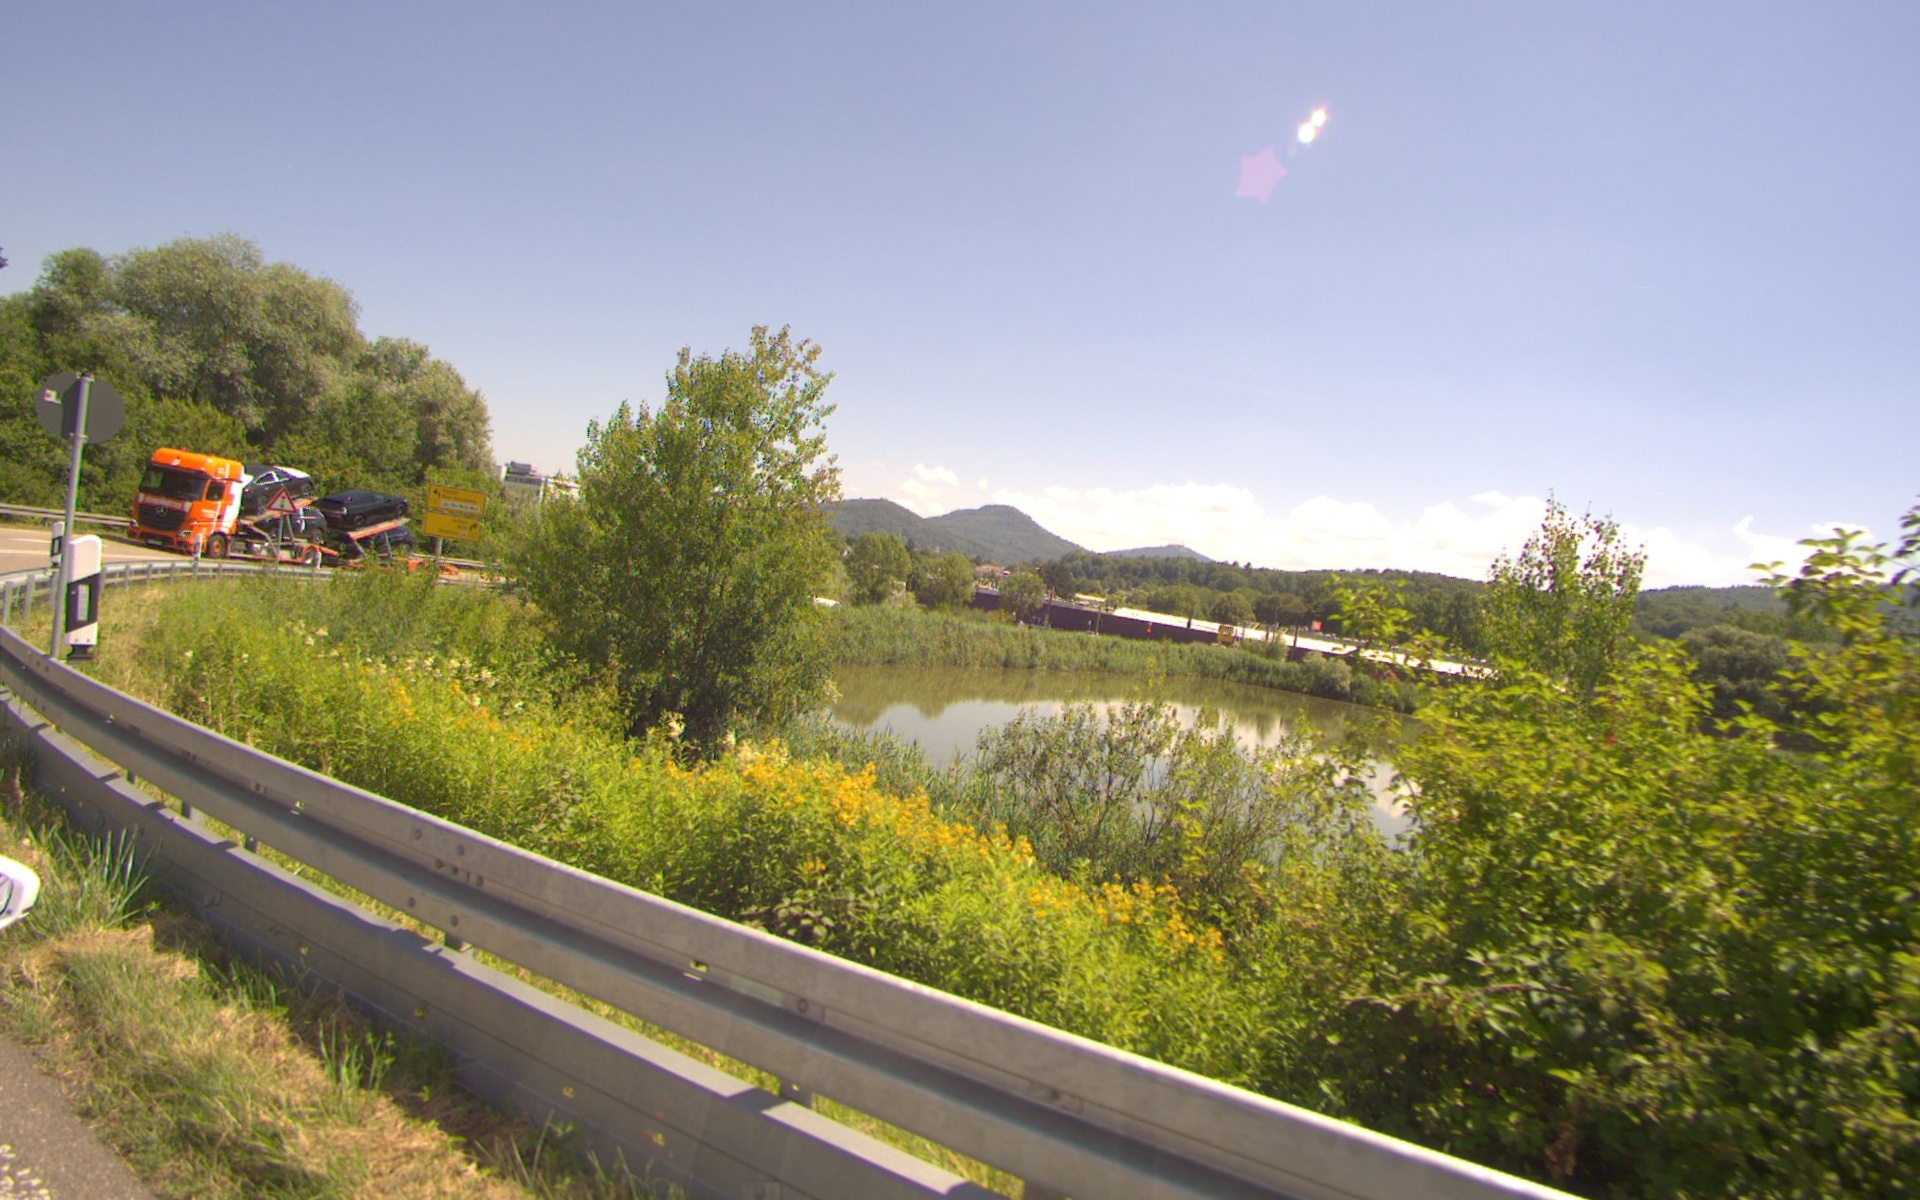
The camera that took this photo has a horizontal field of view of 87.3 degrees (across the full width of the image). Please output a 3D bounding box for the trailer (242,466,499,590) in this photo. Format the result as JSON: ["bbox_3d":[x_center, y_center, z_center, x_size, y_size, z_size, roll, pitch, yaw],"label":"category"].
[{"bbox_3d":[-28.733,-3.187,50.496,2.750,3.940,14.008,10,-2,7],"label":"trailer"}]

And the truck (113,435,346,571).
[{"bbox_3d":[-29.313,-3.656,41.090,2.749,3.940,8.784,10,-2,-2],"label":"truck"}]
